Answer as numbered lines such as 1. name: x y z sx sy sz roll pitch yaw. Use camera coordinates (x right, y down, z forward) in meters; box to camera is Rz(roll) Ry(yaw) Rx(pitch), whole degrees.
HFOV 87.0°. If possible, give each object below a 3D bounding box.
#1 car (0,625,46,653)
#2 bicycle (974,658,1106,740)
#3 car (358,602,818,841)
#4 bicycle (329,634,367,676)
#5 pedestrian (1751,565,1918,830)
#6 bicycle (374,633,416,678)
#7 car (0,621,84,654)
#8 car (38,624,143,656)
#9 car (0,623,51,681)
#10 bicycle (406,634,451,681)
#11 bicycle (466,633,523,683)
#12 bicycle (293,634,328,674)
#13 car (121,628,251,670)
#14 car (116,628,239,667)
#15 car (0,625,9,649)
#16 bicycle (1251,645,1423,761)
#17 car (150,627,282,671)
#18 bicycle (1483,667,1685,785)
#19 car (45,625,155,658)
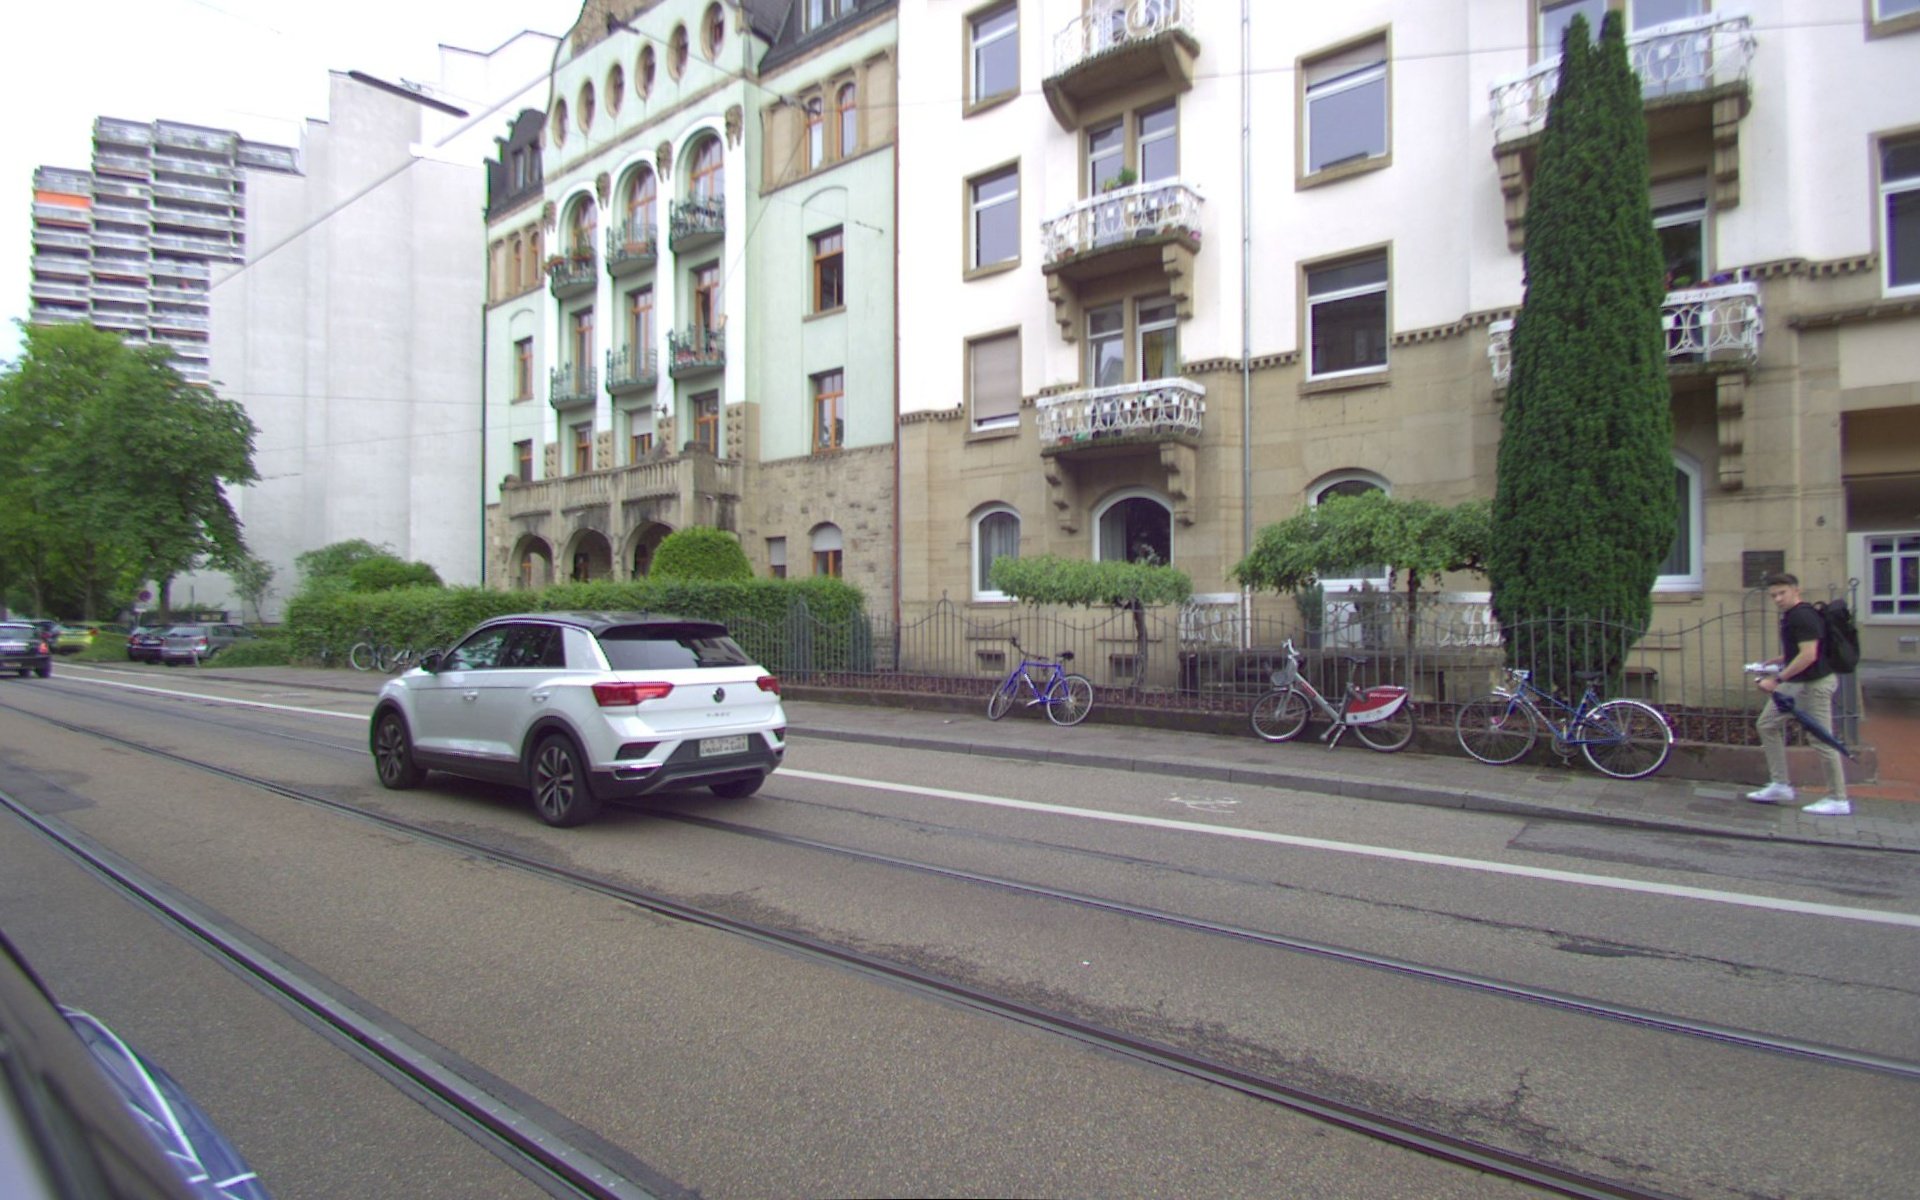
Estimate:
1. car: -58.349 2.360 61.762 1.670 1.632 4.004 0 -2 -5
2. bicycle: 1.010 1.249 13.019 1.660 0.935 0.354 -2 -21 42
3. car: -3.154 0.829 8.281 3.924 1.508 1.682 -1 -3 37
4. bicycle: -16.375 1.449 27.082 1.545 1.092 0.356 -1 -2 39
5. pedestrian: 6.578 0.700 7.666 0.881 1.858 0.661 -1 -2 38
6. bicycle: -14.058 1.367 25.159 1.545 1.092 0.356 -1 -2 39
7. car: -48.276 1.947 52.910 1.670 1.632 4.004 0 -2 -5
8. car: -40.418 1.843 47.183 1.670 1.453 4.004 0 -2 -5
9. car: -25.222 1.329 26.379 3.480 1.433 1.594 -1 -3 37
10. bicycle: -12.584 1.347 23.956 1.545 1.092 0.356 -1 -2 39
11. bicycle: -10.934 1.355 23.794 0.300 1.091 1.190 -1 0 40
12. bicycle: -18.396 1.524 28.657 1.545 1.092 0.356 -1 -2 39
13. car: -27.896 1.729 36.626 1.671 1.414 4.000 0 -2 -1
14. car: -30.043 1.808 39.004 1.671 1.414 4.000 0 -2 -1
15. car: -66.199 2.504 67.670 1.670 1.632 4.004 0 -2 -5
16. bicycle: 3.865 1.028 10.436 1.617 1.110 0.382 -1 -2 28
17. car: -25.589 1.655 34.981 1.671 1.414 4.000 0 -2 -1
18. bicycle: 5.602 1.103 9.147 1.513 0.945 0.329 -1 -2 39
19. car: -38.198 1.820 45.080 1.670 1.405 4.004 0 -2 -5
